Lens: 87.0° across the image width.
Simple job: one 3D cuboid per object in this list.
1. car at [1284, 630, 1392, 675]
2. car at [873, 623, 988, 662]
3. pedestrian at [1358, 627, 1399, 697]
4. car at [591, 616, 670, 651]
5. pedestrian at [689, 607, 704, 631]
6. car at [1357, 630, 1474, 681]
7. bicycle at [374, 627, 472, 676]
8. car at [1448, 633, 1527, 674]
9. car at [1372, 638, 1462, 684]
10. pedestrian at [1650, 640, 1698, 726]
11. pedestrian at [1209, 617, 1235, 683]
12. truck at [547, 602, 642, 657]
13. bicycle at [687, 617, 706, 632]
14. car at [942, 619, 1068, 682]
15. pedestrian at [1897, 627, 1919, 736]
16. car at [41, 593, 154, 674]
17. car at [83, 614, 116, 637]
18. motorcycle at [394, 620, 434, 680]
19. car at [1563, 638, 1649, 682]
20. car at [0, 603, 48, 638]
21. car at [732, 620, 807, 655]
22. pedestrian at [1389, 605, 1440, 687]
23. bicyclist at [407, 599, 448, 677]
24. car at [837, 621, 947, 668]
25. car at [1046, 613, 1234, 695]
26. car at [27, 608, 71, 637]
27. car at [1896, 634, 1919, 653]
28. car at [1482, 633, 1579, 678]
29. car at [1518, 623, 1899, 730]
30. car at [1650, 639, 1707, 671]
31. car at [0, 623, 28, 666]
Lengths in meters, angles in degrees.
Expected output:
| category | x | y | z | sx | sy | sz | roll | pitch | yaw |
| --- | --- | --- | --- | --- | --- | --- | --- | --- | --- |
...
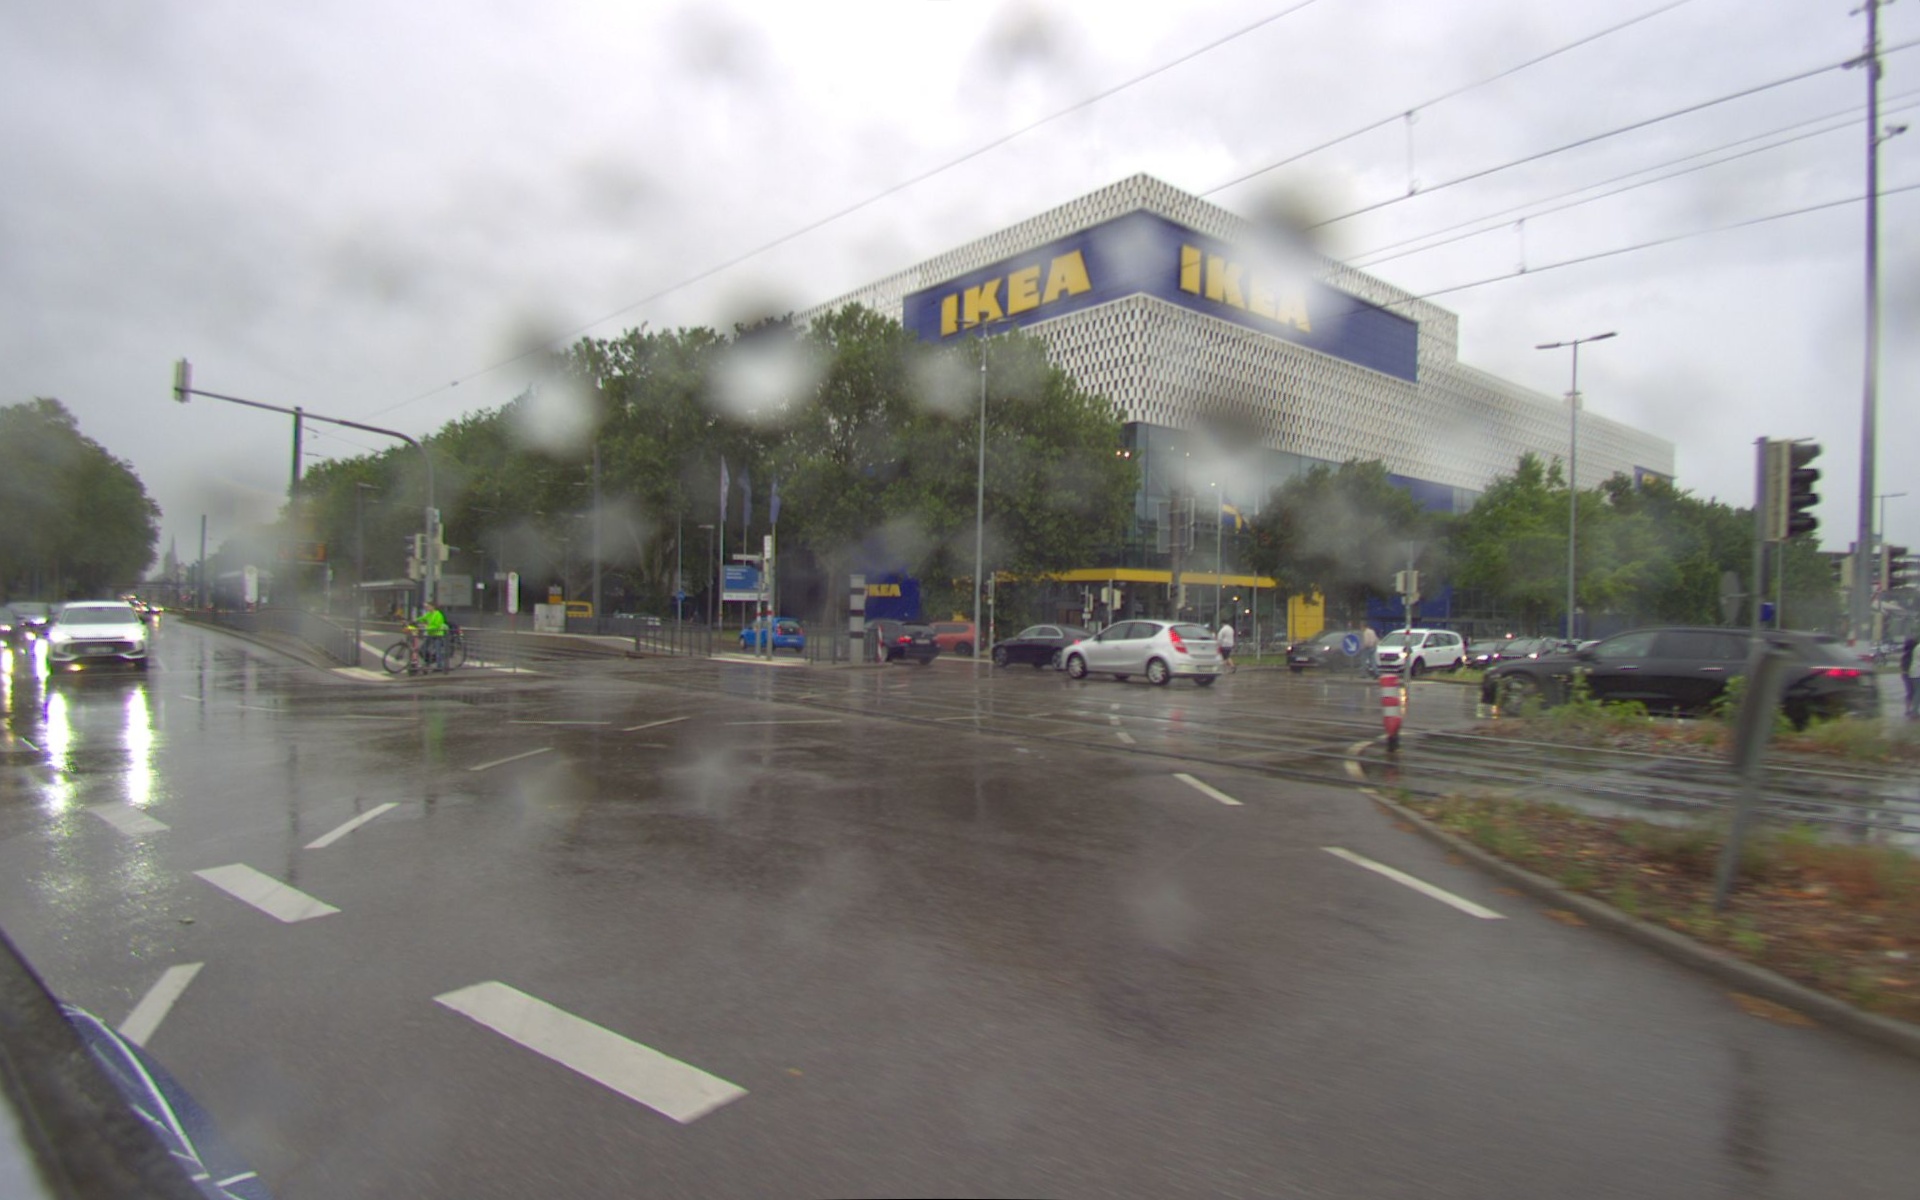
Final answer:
| category | x | y | z | sx | sy | sz | roll | pitch | yaw |
| --- | --- | --- | --- | --- | --- | --- | --- | --- | --- |
| car | 14.101 | 1.912 | 37.690 | 4.219 | 1.552 | 1.823 | 1 | -2 | -38 |
| car | -1.361 | 1.980 | 47.294 | 5.011 | 1.579 | 1.991 | -2 | 0 | 14 |
| pedestrian | 12.716 | 1.870 | 30.784 | 0.771 | 2.029 | 0.861 | 0 | 0 | -23 |
| car | -16.291 | 1.632 | 49.798 | 1.968 | 1.579 | 5.373 | -2 | 0 | -38 |
| pedestrian | -15.482 | 1.115 | 59.389 | 0.571 | 1.345 | 0.686 | -1 | 0 | -45 |
| car | 15.693 | 1.849 | 34.790 | 4.391 | 1.552 | 1.823 | 0 | -1 | -38 |
| bicycle | -12.278 | 1.160 | 23.166 | 1.843 | 1.016 | 0.671 | -2 | 0 | -42 |
| car | 24.205 | 2.395 | 46.398 | 3.954 | 1.630 | 1.763 | -1 | 1 | -38 |
| car | 18.960 | 2.471 | 41.951 | 3.954 | 1.630 | 1.763 | -1 | 1 | -38 |
| pedestrian | 17.660 | 2.032 | 25.042 | 0.756 | 2.029 | 0.672 | -1 | 0 | -26 |
| pedestrian | 8.667 | 1.646 | 33.472 | 0.562 | 2.151 | 0.634 | -2 | 0 | -8 |
| truck | -22.806 | 1.725 | 62.801 | 2.706 | 2.870 | 9.111 | -1 | 2 | -39 |
| bicycle | -15.477 | 1.437 | 59.388 | 0.566 | 0.863 | 1.176 | -1 | 1 | -44 |
| car | 1.395 | 1.588 | 33.474 | 1.783 | 1.807 | 4.510 | -1 | 1 | -35 |
| pedestrian | 18.367 | 1.543 | 19.198 | 0.858 | 2.029 | 0.686 | 0 | 0 | 43 |
| car | -21.326 | 0.766 | 25.090 | 1.964 | 1.802 | 4.560 | -1 | 0 | -40 |
| car | -59.541 | 1.766 | 70.066 | 1.690 | 1.536 | 4.049 | -1 | -1 | -40 |
| motorcycle | -11.829 | 1.057 | 21.941 | 0.519 | 1.230 | 1.406 | -2 | 0 | -20 |
| car | 28.351 | 2.578 | 44.377 | 4.044 | 1.615 | 2.004 | -1 | 1 | -39 |
| car | -43.821 | 0.965 | 47.269 | 1.690 | 1.536 | 4.049 | -1 | -1 | -40 |
| car | -8.394 | 1.628 | 44.383 | 1.561 | 1.425 | 3.922 | -1 | -1 | -38 |
| pedestrian | 13.102 | 1.309 | 29.185 | 0.905 | 2.261 | 0.993 | -2 | 2 | -26 |
| bicyclist | -12.185 | 0.861 | 23.170 | 0.609 | 1.745 | 0.794 | -2 | -1 | -42 |
| car | -2.261 | 1.405 | 32.637 | 1.561 | 1.377 | 4.211 | -1 | -1 | -35 |
| car | 4.141 | 1.225 | 24.019 | 1.689 | 1.721 | 4.439 | -1 | -1 | -36 |
| car | -51.306 | 1.294 | 57.058 | 1.690 | 1.536 | 4.049 | -1 | -1 | -40 |
| car | 112.312 | 5.173 | 119.549 | 3.936 | 2.029 | 2.004 | -1 | 1 | -39 |
| car | 22.738 | 2.161 | 40.268 | 4.311 | 1.552 | 1.823 | -1 | -1 | -38 |
| car | 10.522 | 0.999 | 14.513 | 1.690 | 1.259 | 4.056 | -1 | -1 | -37 |
| car | 42.884 | 3.257 | 60.402 | 3.949 | 1.686 | 1.686 | -1 | 1 | -37 |
| car | -36.330 | 1.665 | 38.059 | 1.690 | 1.536 | 4.049 | -1 | -1 | -40 |
